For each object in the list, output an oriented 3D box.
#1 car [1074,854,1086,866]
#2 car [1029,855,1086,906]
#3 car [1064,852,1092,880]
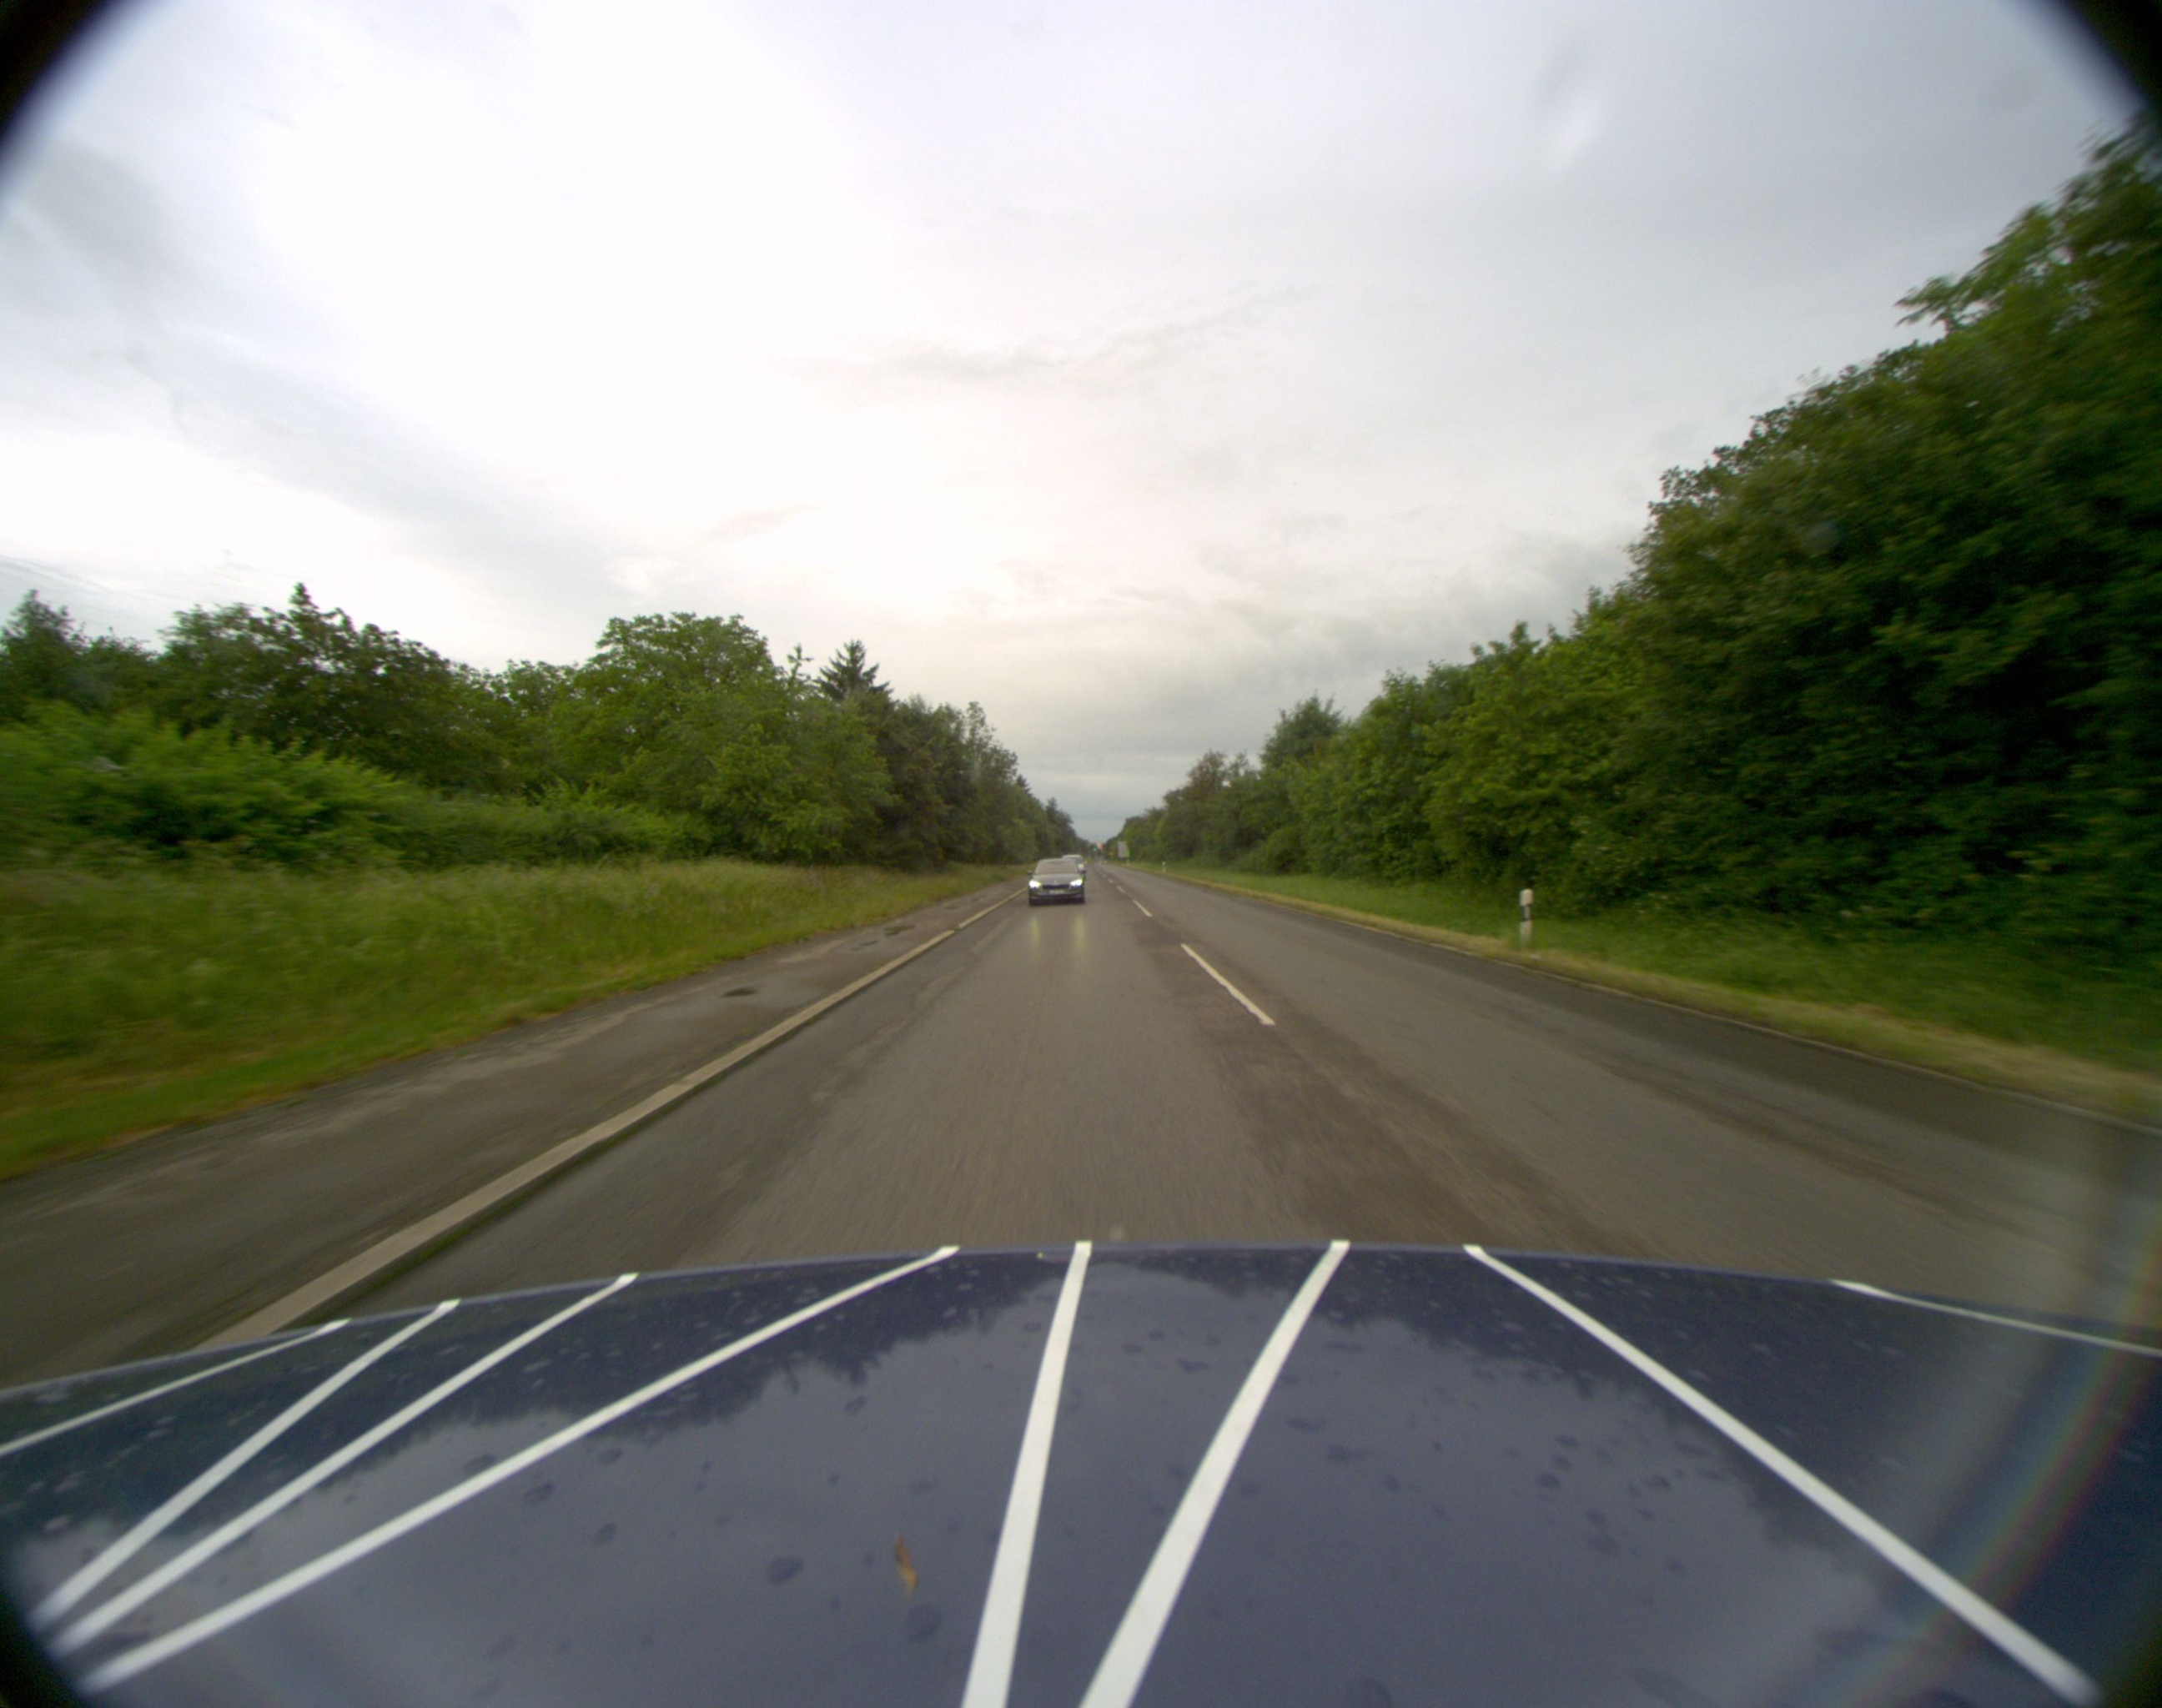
[{"bbox_3d":[-0.118,0.897,116.040,1.856,1.686,4.000,0,0,1],"label":"car"},{"bbox_3d":[-0.717,0.848,25.386,1.675,1.477,4.215,-3,-1,0],"label":"car"},{"bbox_3d":[-0.219,0.726,49.675,1.704,1.723,3.999,-1,0,-1],"label":"car"}]
